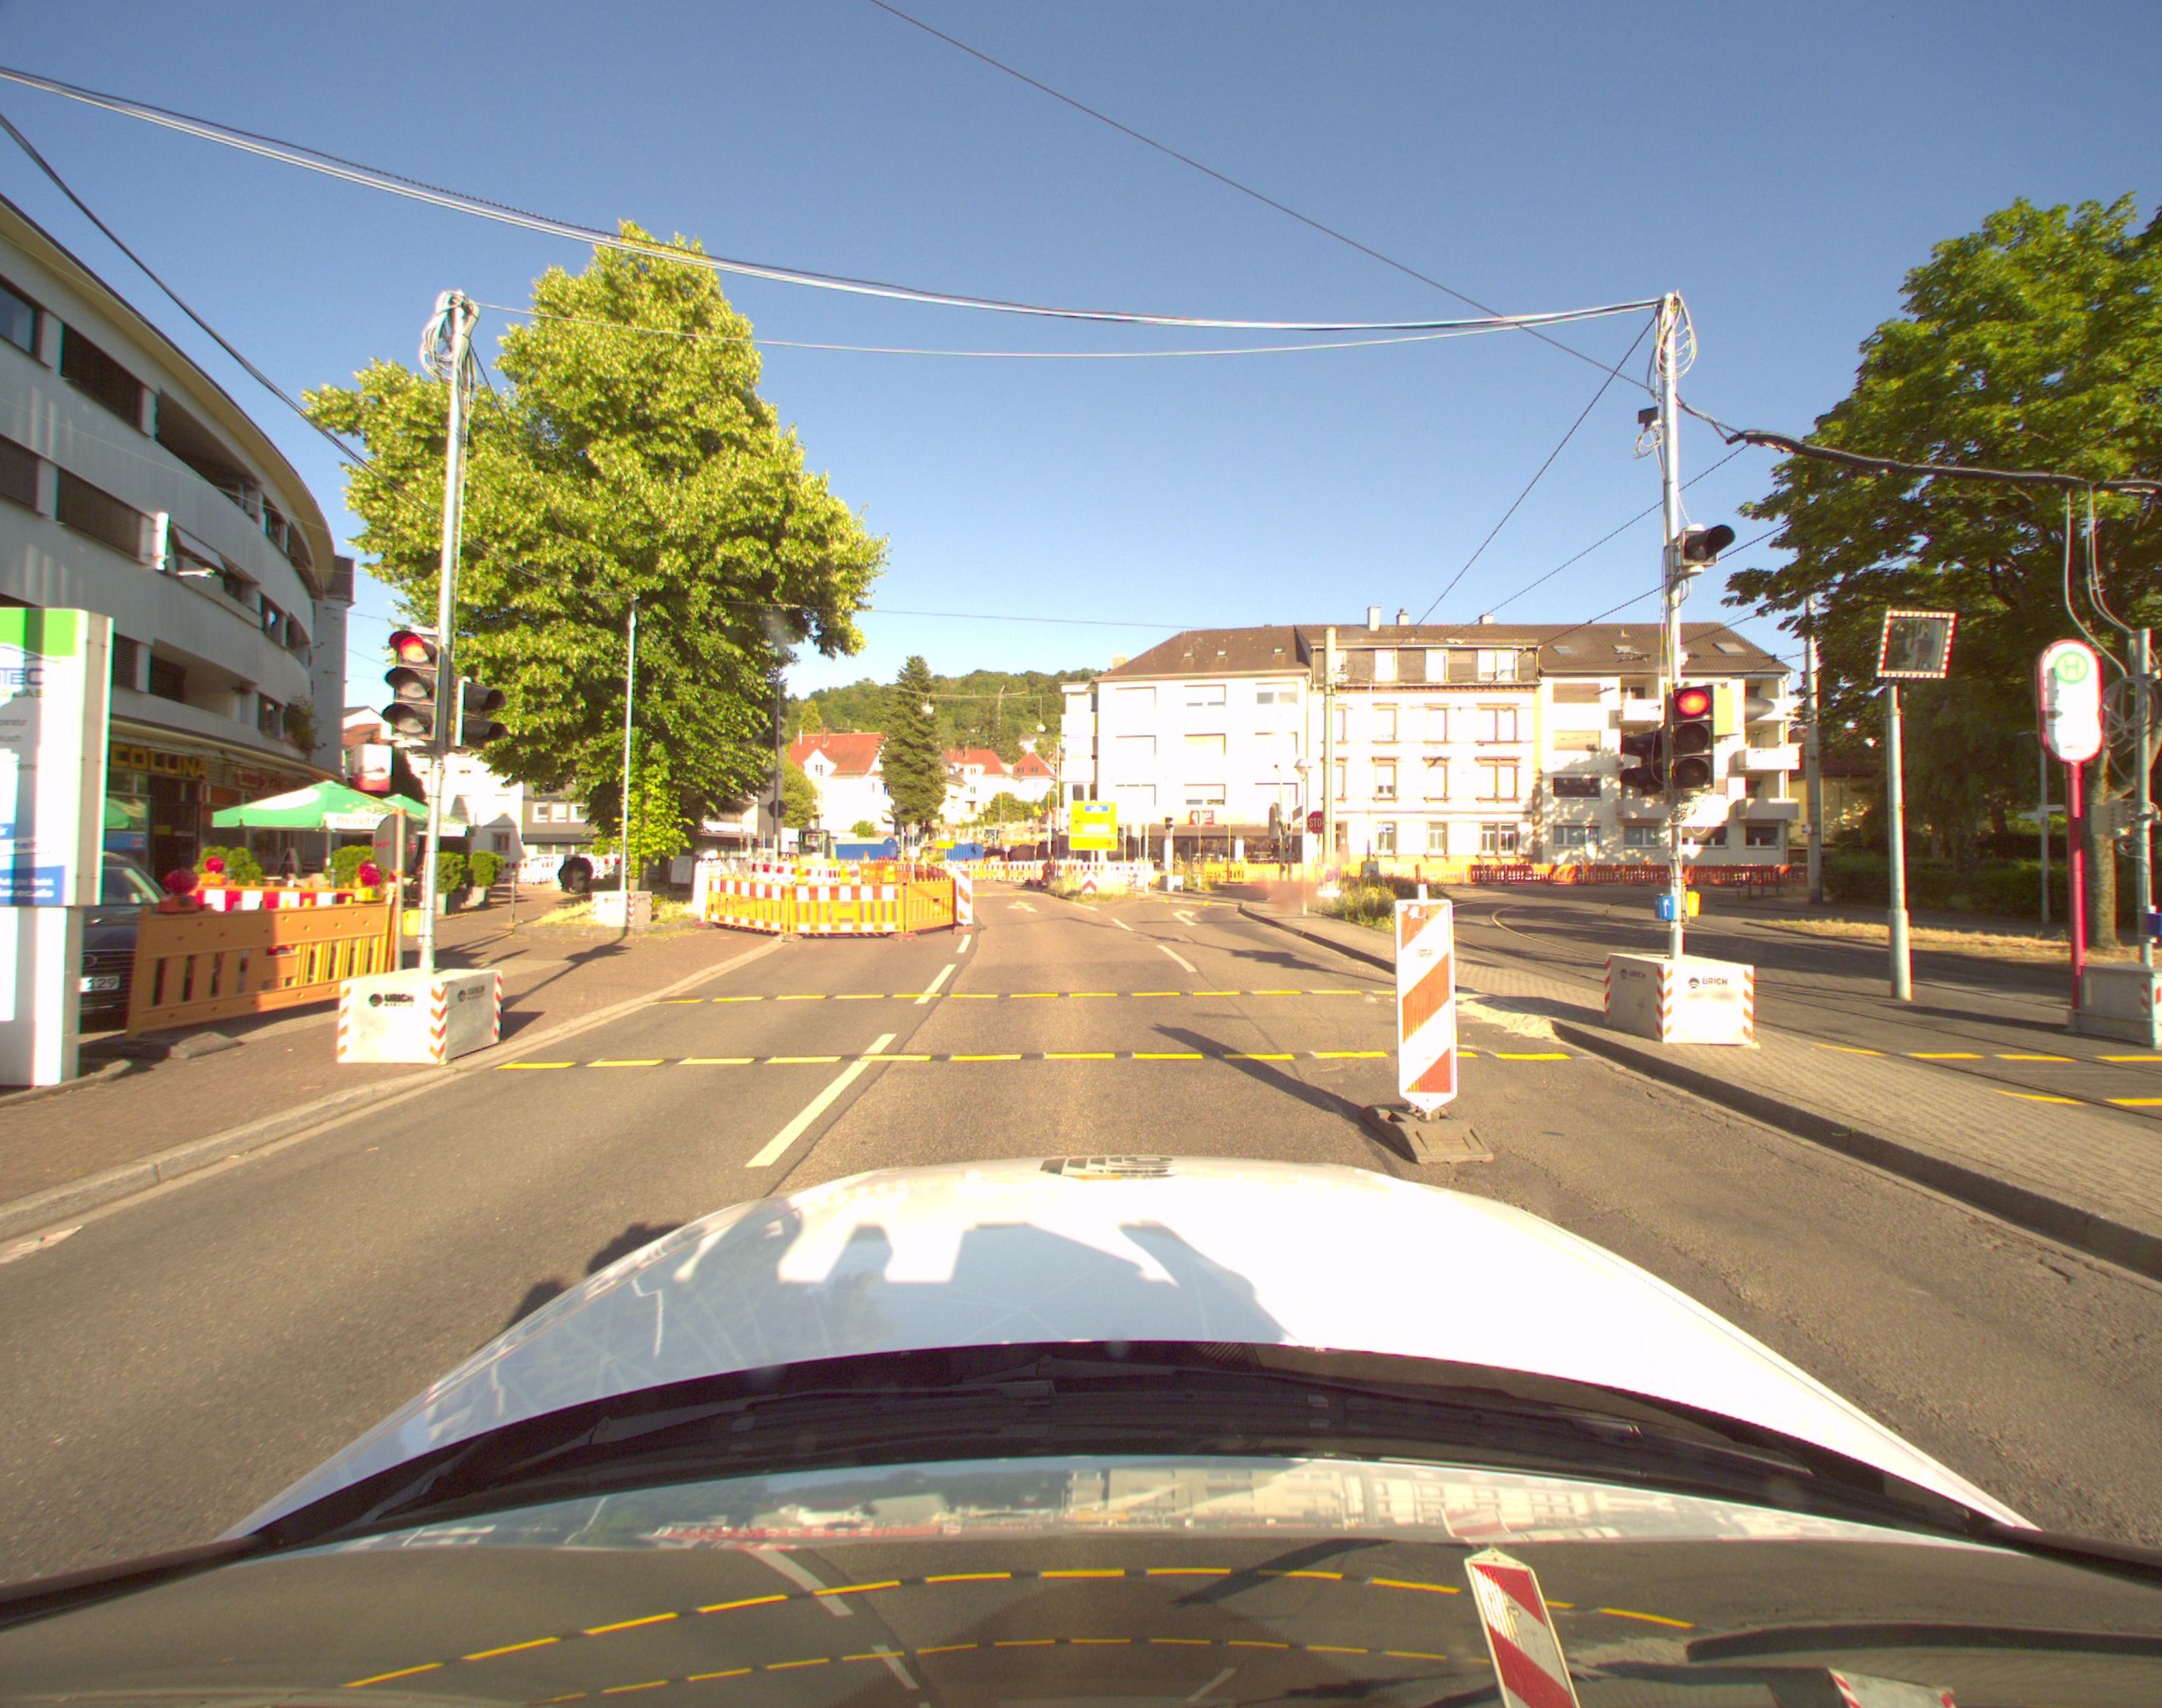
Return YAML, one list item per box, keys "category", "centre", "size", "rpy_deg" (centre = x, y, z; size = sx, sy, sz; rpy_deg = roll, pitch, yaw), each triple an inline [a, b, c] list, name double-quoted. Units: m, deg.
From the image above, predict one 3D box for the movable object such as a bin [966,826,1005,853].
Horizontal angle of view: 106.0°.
- category: "movable object such as a bin"
  centre: [-9.240, -1.350, 79.398]
  size: [1.932, 2.494, 4.574]
  rpy_deg: [-1, -1, 20]

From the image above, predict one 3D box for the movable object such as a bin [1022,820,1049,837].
- category: "movable object such as a bin"
  centre: [-6.418, -3.596, 115.298]
  size: [2.549, 2.122, 5.801]
  rpy_deg: [-1, -1, 11]

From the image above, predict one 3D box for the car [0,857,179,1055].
- category: "car"
  centre: [-9.321, 0.779, 7.315]
  size: [3.835, 1.438, 1.606]
  rpy_deg: [-1, 0, 42]

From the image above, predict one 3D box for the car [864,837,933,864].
- category: "car"
  centre: [-14.862, -0.230, 66.684]
  size: [2.562, 2.121, 6.181]
  rpy_deg: [-1, -1, 20]

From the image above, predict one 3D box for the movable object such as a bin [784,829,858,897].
- category: "movable object such as a bin"
  centre: [-9.438, 0.299, 29.878]
  size: [1.643, 2.324, 3.916]
  rpy_deg: [0, 0, -3]
